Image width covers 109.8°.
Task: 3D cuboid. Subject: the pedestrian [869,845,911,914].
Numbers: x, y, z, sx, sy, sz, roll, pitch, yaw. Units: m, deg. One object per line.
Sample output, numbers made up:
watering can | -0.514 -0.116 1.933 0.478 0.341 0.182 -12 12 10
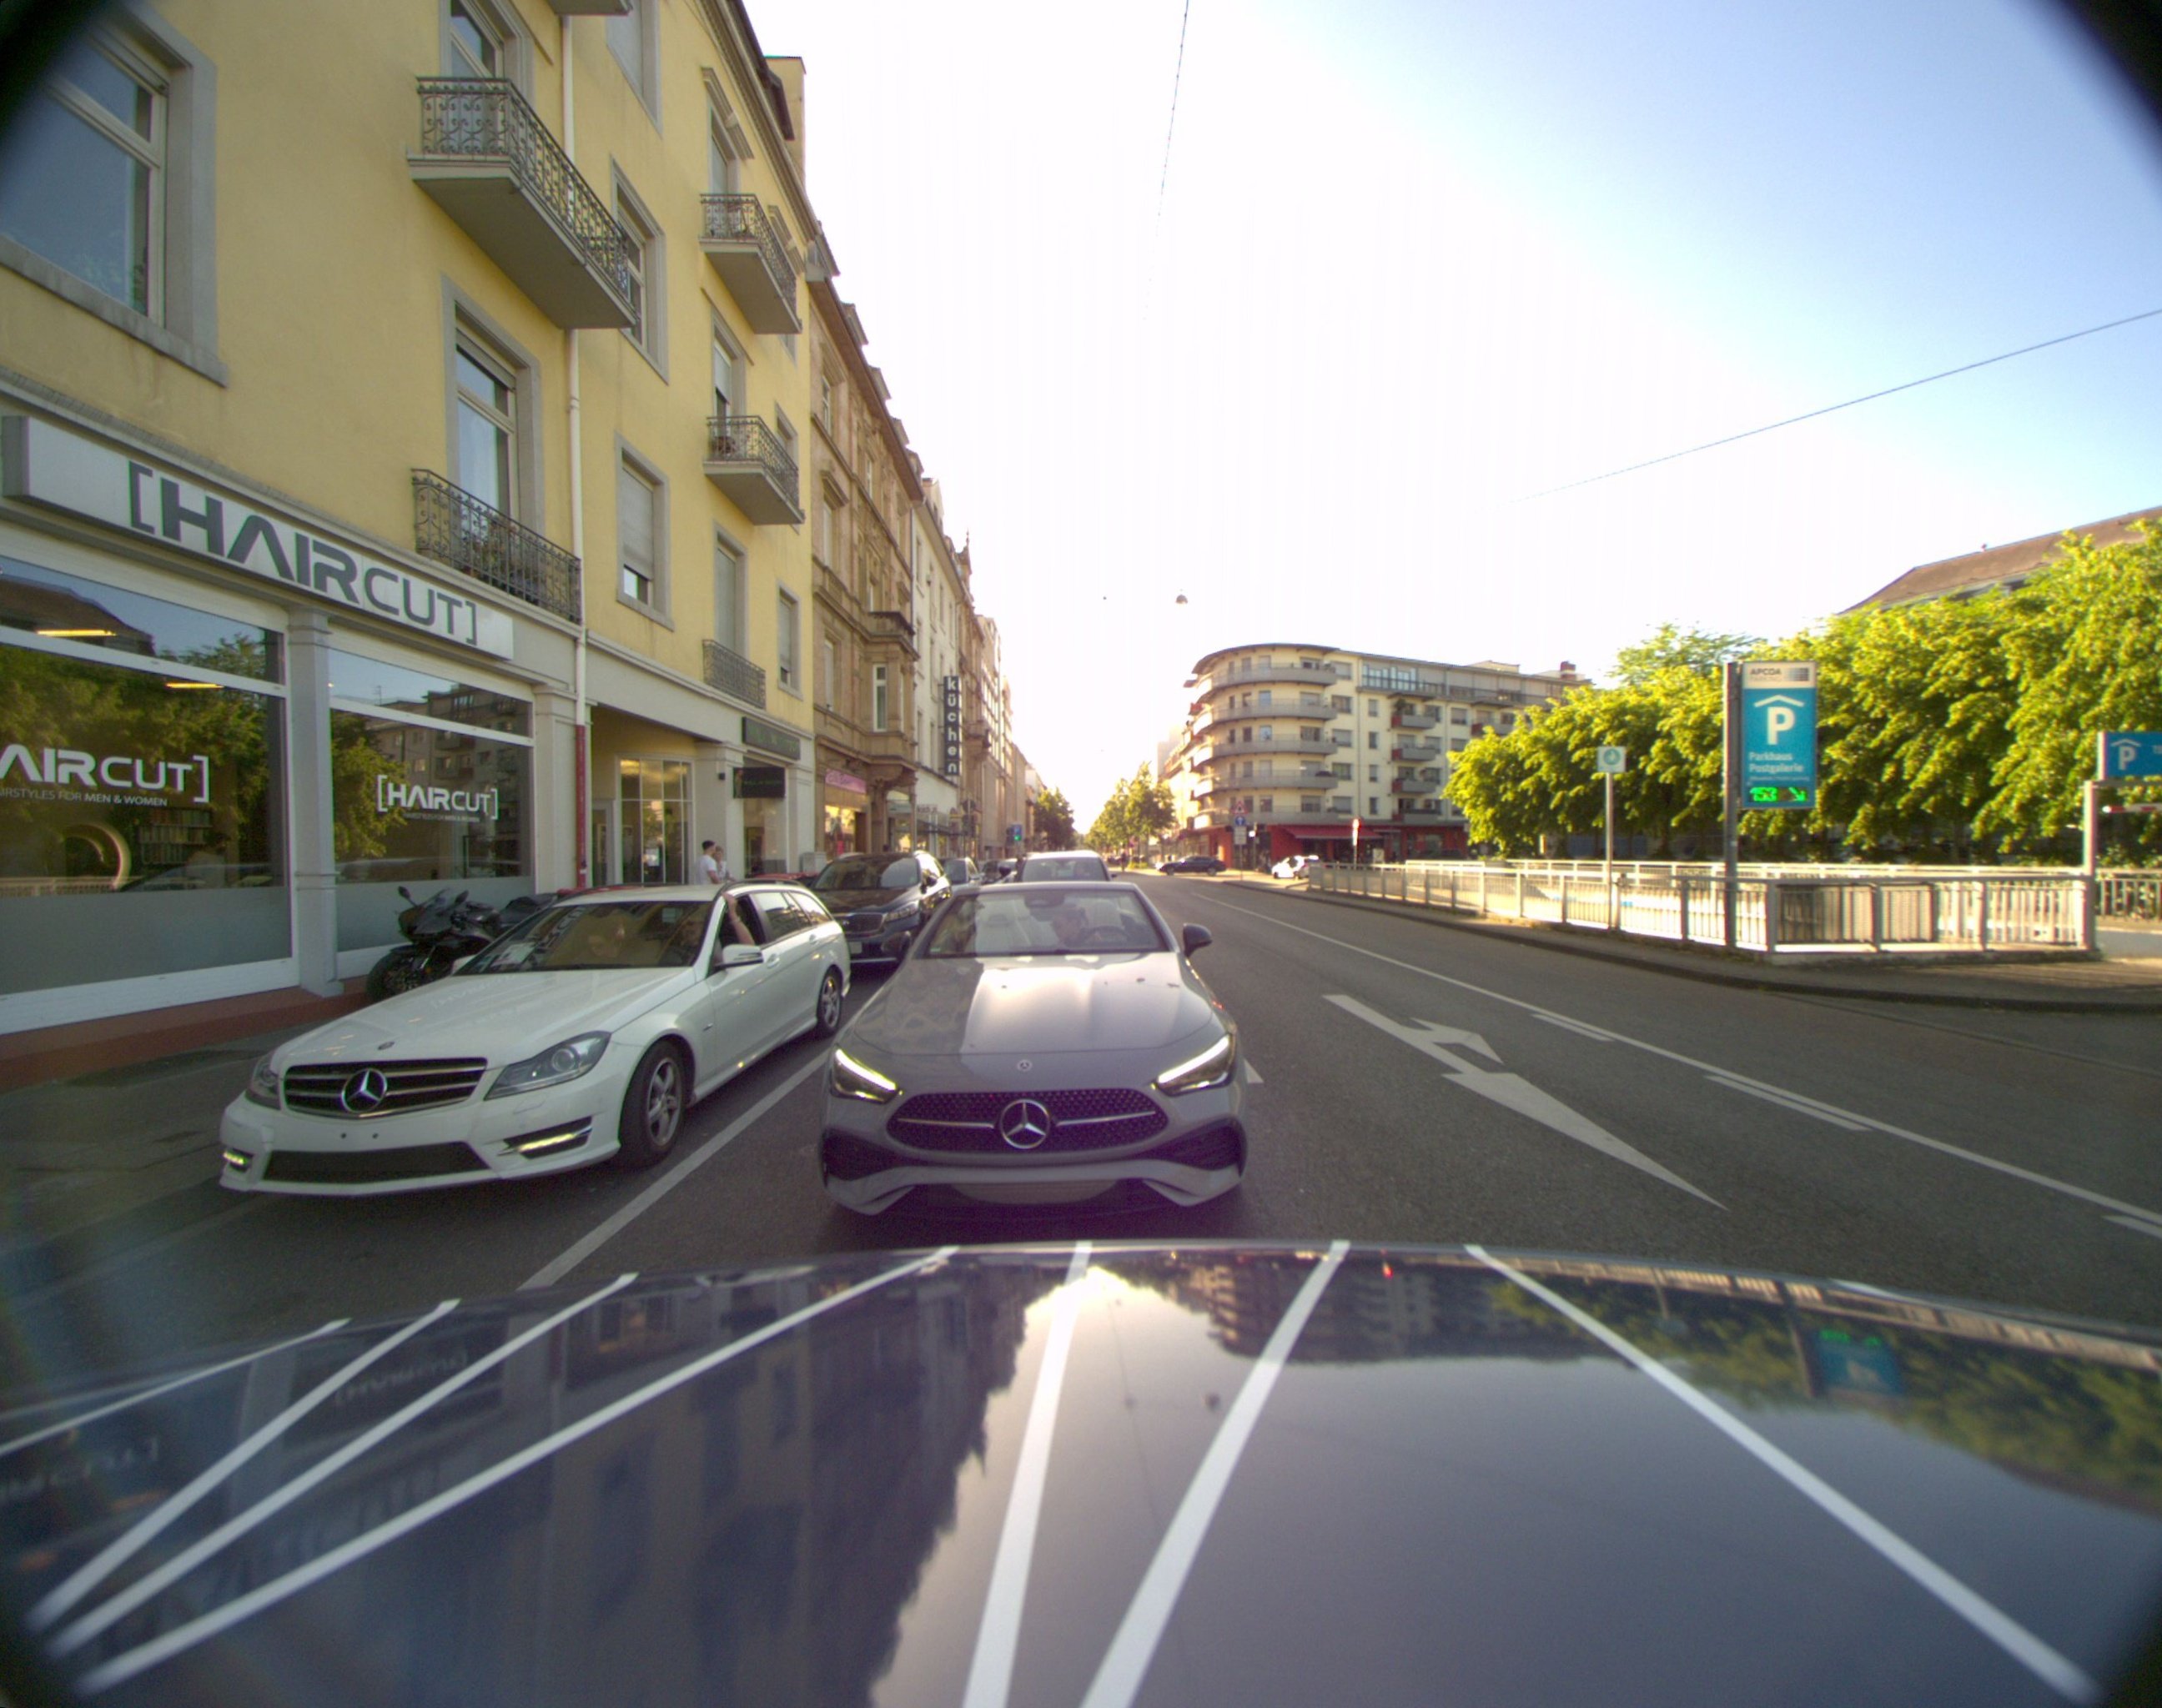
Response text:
pedestrian | -4.597 0.605 18.343 0.795 1.607 0.763 -1 1 -1

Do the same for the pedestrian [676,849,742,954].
pedestrian | -5.877 0.731 12.038 0.642 1.607 0.701 -1 1 -1

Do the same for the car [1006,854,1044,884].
car | -2.983 0.765 40.983 1.715 1.477 3.999 -1 0 0

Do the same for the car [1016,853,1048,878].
car | -3.025 0.693 47.578 1.715 1.477 4.062 -1 0 0

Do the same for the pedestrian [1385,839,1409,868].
pedestrian | 22.861 -0.047 55.000 1.317 2.002 1.296 -1 1 10

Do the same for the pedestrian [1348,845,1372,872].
pedestrian | 21.724 0.341 59.144 1.234 2.002 1.259 -2 1 -21

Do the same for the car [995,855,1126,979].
car | -0.249 0.851 12.162 1.716 1.599 4.000 -1 0 1

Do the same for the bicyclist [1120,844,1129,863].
bicyclist | 3.814 -0.034 66.457 0.757 1.651 1.144 -2 1 5

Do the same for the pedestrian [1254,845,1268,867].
pedestrian | 13.754 0.160 58.042 0.675 1.696 0.698 -2 1 -20

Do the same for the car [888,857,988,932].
car | -3.272 0.892 17.944 1.696 1.559 3.018 -1 0 1

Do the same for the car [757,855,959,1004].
car | -3.004 0.893 11.337 1.858 1.688 4.697 -1 0 -4

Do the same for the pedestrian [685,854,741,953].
pedestrian | -6.177 0.815 12.777 0.572 1.607 0.643 -1 1 2

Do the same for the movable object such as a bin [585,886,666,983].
movable object such as a bin | -6.057 1.054 10.124 0.647 1.200 0.644 -1 1 1

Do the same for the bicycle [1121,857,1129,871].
bicycle | 3.865 0.865 66.334 0.661 1.083 1.971 -1 0 4

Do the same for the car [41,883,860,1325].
car | -3.069 1.045 5.206 1.759 1.453 4.597 -1 0 0

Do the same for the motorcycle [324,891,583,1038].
motorcycle | -6.260 1.023 7.811 0.773 1.158 2.247 1 0 1

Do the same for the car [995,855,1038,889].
car | -3.051 0.815 36.466 1.715 1.477 3.999 -1 0 0

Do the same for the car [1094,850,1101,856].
car | 4.652 -0.296 212.211 1.998 1.805 4.000 -1 0 1

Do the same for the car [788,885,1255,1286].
car | -0.256 1.023 5.209 1.849 1.371 4.255 -2 0 -1

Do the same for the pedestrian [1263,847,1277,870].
pedestrian | 14.517 0.353 58.399 0.756 1.795 0.755 -2 1 -41

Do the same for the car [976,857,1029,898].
car | -3.111 0.904 30.712 1.715 1.477 3.999 -1 0 0

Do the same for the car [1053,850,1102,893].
car | -0.126 0.709 33.063 1.952 1.742 4.000 -1 0 1

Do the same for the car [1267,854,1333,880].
car | 13.059 0.757 45.589 1.804 1.426 4.245 -2 0 -16

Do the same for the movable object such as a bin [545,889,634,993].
movable object such as a bin | -6.107 1.063 9.473 0.647 1.200 0.644 -1 1 1

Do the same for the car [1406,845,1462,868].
car | 29.032 0.181 62.438 4.004 1.740 1.996 -2 1 -23

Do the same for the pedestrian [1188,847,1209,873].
pedestrian | 9.207 0.473 59.349 1.202 2.002 1.018 -3 1 -37

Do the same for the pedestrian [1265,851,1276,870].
pedestrian | 15.051 0.506 60.257 0.791 1.452 0.583 -1 1 10

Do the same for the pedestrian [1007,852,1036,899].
pedestrian | -2.153 0.765 27.458 0.694 1.657 0.833 -2 1 -29

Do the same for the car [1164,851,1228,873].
car | 7.904 0.569 52.528 4.284 1.375 2.001 -1 0 6

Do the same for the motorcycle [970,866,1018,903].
motorcycle | -3.057 1.049 26.772 0.769 1.225 1.546 -1 1 42
